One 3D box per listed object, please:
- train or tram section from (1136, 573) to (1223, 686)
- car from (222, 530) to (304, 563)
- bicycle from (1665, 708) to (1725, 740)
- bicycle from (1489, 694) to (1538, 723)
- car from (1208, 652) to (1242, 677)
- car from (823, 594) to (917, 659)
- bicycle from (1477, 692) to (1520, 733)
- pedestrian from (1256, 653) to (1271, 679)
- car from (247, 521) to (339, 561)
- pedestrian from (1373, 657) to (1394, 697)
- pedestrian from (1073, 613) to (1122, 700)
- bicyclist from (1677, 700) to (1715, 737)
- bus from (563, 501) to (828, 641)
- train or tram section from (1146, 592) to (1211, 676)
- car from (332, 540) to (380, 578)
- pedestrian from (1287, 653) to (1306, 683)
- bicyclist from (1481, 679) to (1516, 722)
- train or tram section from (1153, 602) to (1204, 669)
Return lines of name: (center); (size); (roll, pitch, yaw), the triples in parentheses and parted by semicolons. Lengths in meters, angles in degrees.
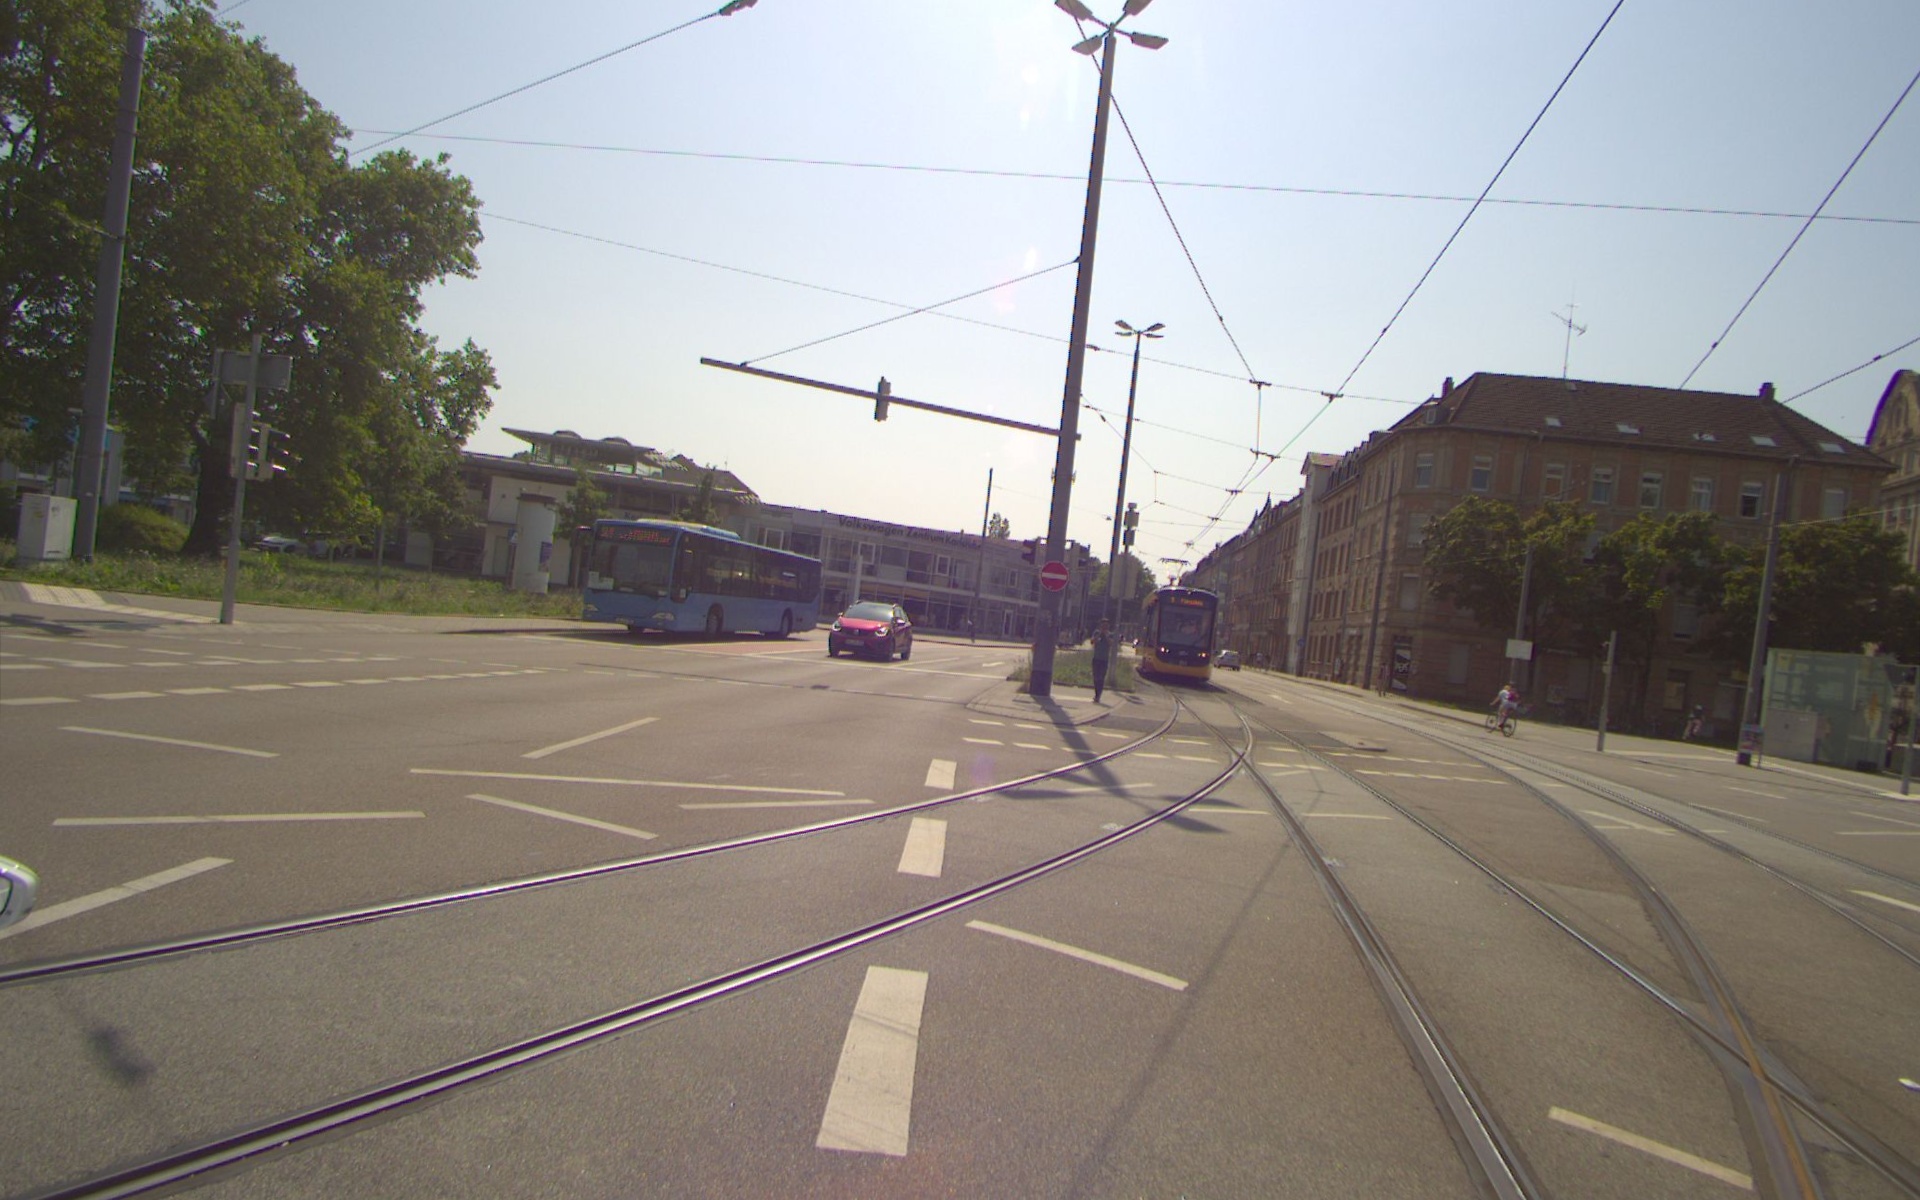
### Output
train or tram section: (8.811, 1.259, 40.511); (2.546, 3.603, 12.226); (7, -1, 12)
car: (-43.716, -3.323, 63.199); (1.962, 1.526, 4.003); (7, -1, 6)
bicycle: (30.457, 5.135, 41.737); (0.634, 1.010, 2.375); (7, -1, -1)
bicycle: (24.059, 4.716, 43.766); (1.755, 0.969, 0.462); (7, 0, 2)
car: (20.606, 4.981, 78.248); (1.705, 1.592, 3.616); (8, -2, 4)
car: (-2.409, 0.751, 27.777); (1.599, 1.489, 3.775); (7, -1, 8)
bicycle: (17.302, 3.611, 32.374); (0.433, 1.125, 1.643); (7, 0, 2)
pedestrian: (25.635, 5.554, 84.906); (0.779, 2.037, 0.810); (8, -1, 0)
car: (-40.247, -3.525, 60.781); (1.686, 1.774, 4.257); (7, -1, 26)
pedestrian: (22.600, 4.121, 53.706); (0.638, 2.038, 0.703); (7, 0, 5)
pedestrian: (2.899, 1.186, 21.213); (0.789, 1.708, 0.719); (7, 1, 8)
bicyclist: (30.488, 4.896, 41.680); (0.735, 1.336, 0.921); (7, 0, -1)
bus: (-7.271, -0.469, 30.562); (2.682, 3.101, 12.093); (7, -1, 10)
train or tram section: (11.389, 1.813, 52.452); (2.546, 3.603, 12.226); (7, -1, 12)
car: (-40.359, -2.742, 67.352); (2.310, 2.036, 6.758); (9, -2, -29)
pedestrian: (24.395, 4.939, 72.918); (0.826, 2.037, 0.810); (8, -1, 0)
bicyclist: (17.260, 3.225, 32.262); (0.646, 1.269, 0.644); (7, 0, -1)
train or tram section: (13.967, 2.348, 64.396); (2.546, 3.603, 12.226); (7, -1, 12)
